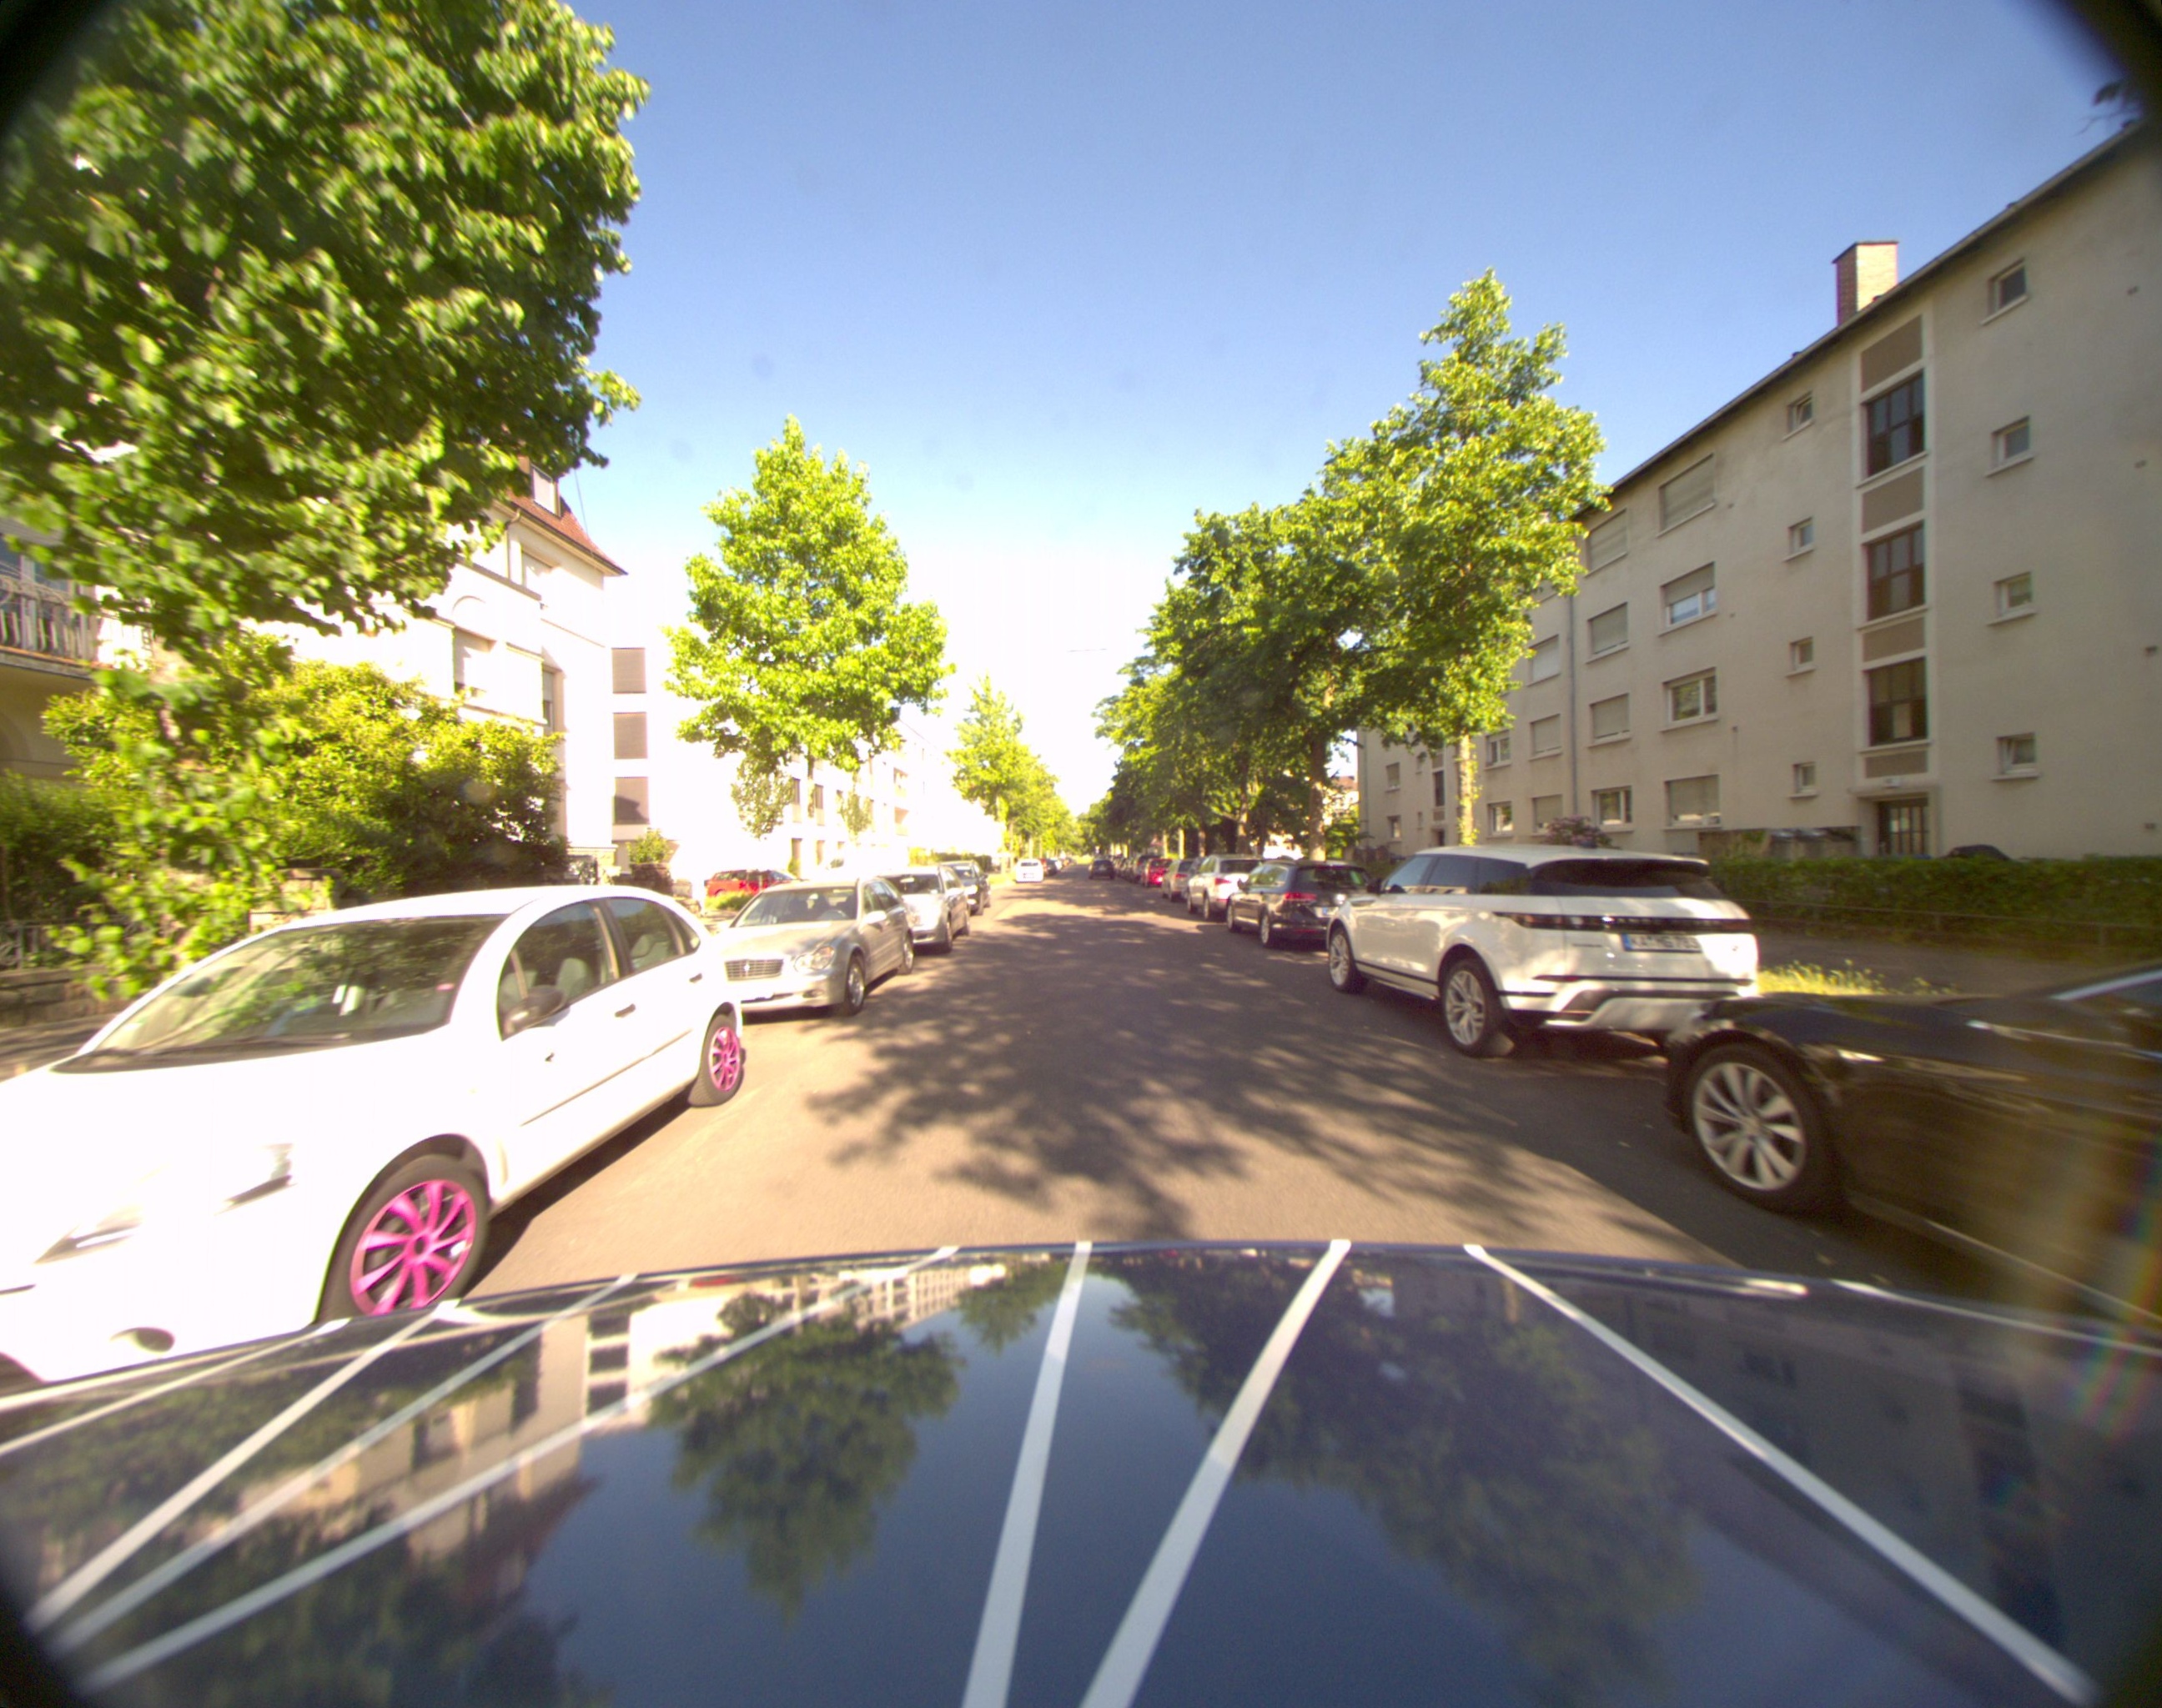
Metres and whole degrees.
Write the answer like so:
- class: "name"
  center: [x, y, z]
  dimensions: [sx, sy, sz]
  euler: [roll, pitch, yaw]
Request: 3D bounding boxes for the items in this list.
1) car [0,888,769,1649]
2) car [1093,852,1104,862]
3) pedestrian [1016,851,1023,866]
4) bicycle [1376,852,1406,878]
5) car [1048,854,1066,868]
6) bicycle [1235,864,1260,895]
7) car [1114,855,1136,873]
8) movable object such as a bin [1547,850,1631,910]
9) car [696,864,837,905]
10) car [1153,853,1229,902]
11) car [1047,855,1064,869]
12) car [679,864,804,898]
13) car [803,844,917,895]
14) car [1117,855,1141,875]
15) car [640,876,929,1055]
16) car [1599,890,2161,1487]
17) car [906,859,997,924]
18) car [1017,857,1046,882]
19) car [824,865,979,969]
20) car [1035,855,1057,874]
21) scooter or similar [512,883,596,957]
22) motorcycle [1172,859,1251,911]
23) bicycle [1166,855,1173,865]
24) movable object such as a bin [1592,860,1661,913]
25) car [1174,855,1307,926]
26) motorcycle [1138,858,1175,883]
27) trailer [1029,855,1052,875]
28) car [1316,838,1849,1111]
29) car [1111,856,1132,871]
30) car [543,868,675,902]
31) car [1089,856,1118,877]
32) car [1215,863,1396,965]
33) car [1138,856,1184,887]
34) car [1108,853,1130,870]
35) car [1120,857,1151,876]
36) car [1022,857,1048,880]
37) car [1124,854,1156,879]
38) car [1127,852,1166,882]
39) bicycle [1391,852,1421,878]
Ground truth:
- class: "car"
  center: [-3.160, 1.067, 3.663]
  dimensions: [1.658, 1.523, 3.968]
  euler: [-4, 0, -2]
- class: "car"
  center: [3.486, 0.608, 151.922]
  dimensions: [1.891, 1.797, 3.913]
  euler: [-1, 0, -4]
- class: "pedestrian"
  center: [-8.795, 0.645, 108.498]
  dimensions: [0.907, 2.002, 1.006]
  euler: [0, 1, 0]
- class: "bicycle"
  center: [14.680, 0.526, 36.041]
  dimensions: [0.687, 1.194, 1.912]
  euler: [-1, 0, 2]
- class: "car"
  center: [-2.987, 0.868, 96.067]
  dimensions: [1.902, 1.638, 4.862]
  euler: [-2, 0, 2]
- class: "bicycle"
  center: [6.139, 0.909, 28.047]
  dimensions: [0.532, 1.009, 2.091]
  euler: [-8, -1, 5]
- class: "car"
  center: [3.873, 0.846, 67.348]
  dimensions: [1.658, 1.496, 4.068]
  euler: [0, 0, -2]
- class: "movable object such as a bin"
  center: [11.518, 0.564, 17.275]
  dimensions: [0.932, 1.316, 1.378]
  euler: [-1, 1, -6]
- class: "car"
  center: [-12.056, 1.165, 29.236]
  dimensions: [4.725, 1.461, 1.955]
  euler: [-1, 1, 14]
- class: "car"
  center: [3.740, 0.757, 26.700]
  dimensions: [2.048, 1.515, 4.606]
  euler: [-1, 0, 1]
- class: "car"
  center: [-3.068, 0.933, 90.028]
  dimensions: [1.786, 1.509, 4.685]
  euler: [-2, 0, -4]
- class: "car"
  center: [-15.881, 1.259, 35.761]
  dimensions: [4.941, 1.461, 2.047]
  euler: [-1, 0, -2]
- class: "car"
  center: [-10.797, 0.691, 37.050]
  dimensions: [5.062, 2.292, 2.230]
  euler: [-1, 0, -23]
- class: "car"
  center: [3.778, 0.852, 60.394]
  dimensions: [1.710, 1.568, 4.481]
  euler: [0, 0, 1]
- class: "car"
  center: [-3.195, 1.089, 9.389]
  dimensions: [1.715, 1.402, 4.860]
  euler: [-3, 0, -2]
- class: "car"
  center: [3.741, 0.968, 1.867]
  dimensions: [1.733, 1.469, 4.619]
  euler: [2, 0, 0]
- class: "car"
  center: [-3.622, 0.977, 22.159]
  dimensions: [1.900, 1.515, 4.965]
  euler: [-2, 1, -2]
- class: "car"
  center: [-3.224, 0.984, 50.090]
  dimensions: [1.737, 1.478, 4.008]
  euler: [-2, 0, -2]
- class: "car"
  center: [-3.139, 1.026, 14.378]
  dimensions: [1.826, 1.461, 4.908]
  euler: [-3, 0, -2]
- class: "car"
  center: [-3.168, 0.945, 69.730]
  dimensions: [1.797, 1.633, 4.818]
  euler: [-3, 0, -1]
- class: "scooter or similar"
  center: [-9.159, 1.122, 13.246]
  dimensions: [0.402, 1.178, 1.207]
  euler: [-1, 0, 15]
- class: "motorcycle"
  center: [3.919, 0.889, 22.934]
  dimensions: [0.991, 1.495, 2.227]
  euler: [-1, 0, -40]
- class: "bicycle"
  center: [10.095, 0.686, 86.826]
  dimensions: [0.573, 1.055, 1.933]
  euler: [-2, 0, 0]
- class: "movable object such as a bin"
  center: [11.635, 0.680, 16.227]
  dimensions: [0.932, 1.086, 0.754]
  euler: [-1, 1, -6]
- class: "car"
  center: [3.779, 0.796, 18.956]
  dimensions: [2.070, 1.515, 4.720]
  euler: [-1, 0, -3]
- class: "motorcycle"
  center: [4.150, 0.916, 41.560]
  dimensions: [1.957, 1.324, 0.788]
  euler: [-1, 0, 8]
- class: "trailer"
  center: [-3.452, 0.957, 65.010]
  dimensions: [1.578, 1.569, 3.192]
  euler: [-3, 0, 2]
- class: "car"
  center: [3.679, 0.719, 6.731]
  dimensions: [1.733, 1.608, 4.365]
  euler: [1, 0, -1]
- class: "car"
  center: [3.801, 0.875, 72.207]
  dimensions: [1.658, 1.365, 4.188]
  euler: [0, 0, -2]
- class: "car"
  center: [-21.971, 1.447, 35.503]
  dimensions: [4.940, 1.420, 1.961]
  euler: [-1, -1, -1]
- class: "car"
  center: [1.536, 0.866, 53.878]
  dimensions: [1.814, 1.437, 4.365]
  euler: [0, 0, -2]
- class: "car"
  center: [3.747, 0.923, 13.661]
  dimensions: [1.733, 1.438, 4.820]
  euler: [1, 0, -1]
- class: "car"
  center: [3.968, 0.828, 38.256]
  dimensions: [1.861, 1.461, 4.182]
  euler: [-1, 0, 0]
- class: "car"
  center: [3.832, 0.741, 77.484]
  dimensions: [1.846, 1.647, 5.087]
  euler: [0, 0, -1]
- class: "car"
  center: [3.885, 0.878, 55.181]
  dimensions: [1.789, 1.344, 4.481]
  euler: [0, 0, -2]
- class: "car"
  center: [-3.272, 1.030, 54.660]
  dimensions: [1.674, 1.442, 4.178]
  euler: [-3, 0, -2]
- class: "car"
  center: [3.831, 0.814, 49.751]
  dimensions: [1.773, 1.522, 4.419]
  euler: [-1, 0, 1]
- class: "car"
  center: [3.789, 0.728, 44.514]
  dimensions: [1.772, 1.678, 4.813]
  euler: [0, 0, -1]
- class: "bicycle"
  center: [15.389, 0.502, 36.024]
  dimensions: [0.687, 1.194, 1.912]
  euler: [-1, 0, 2]
